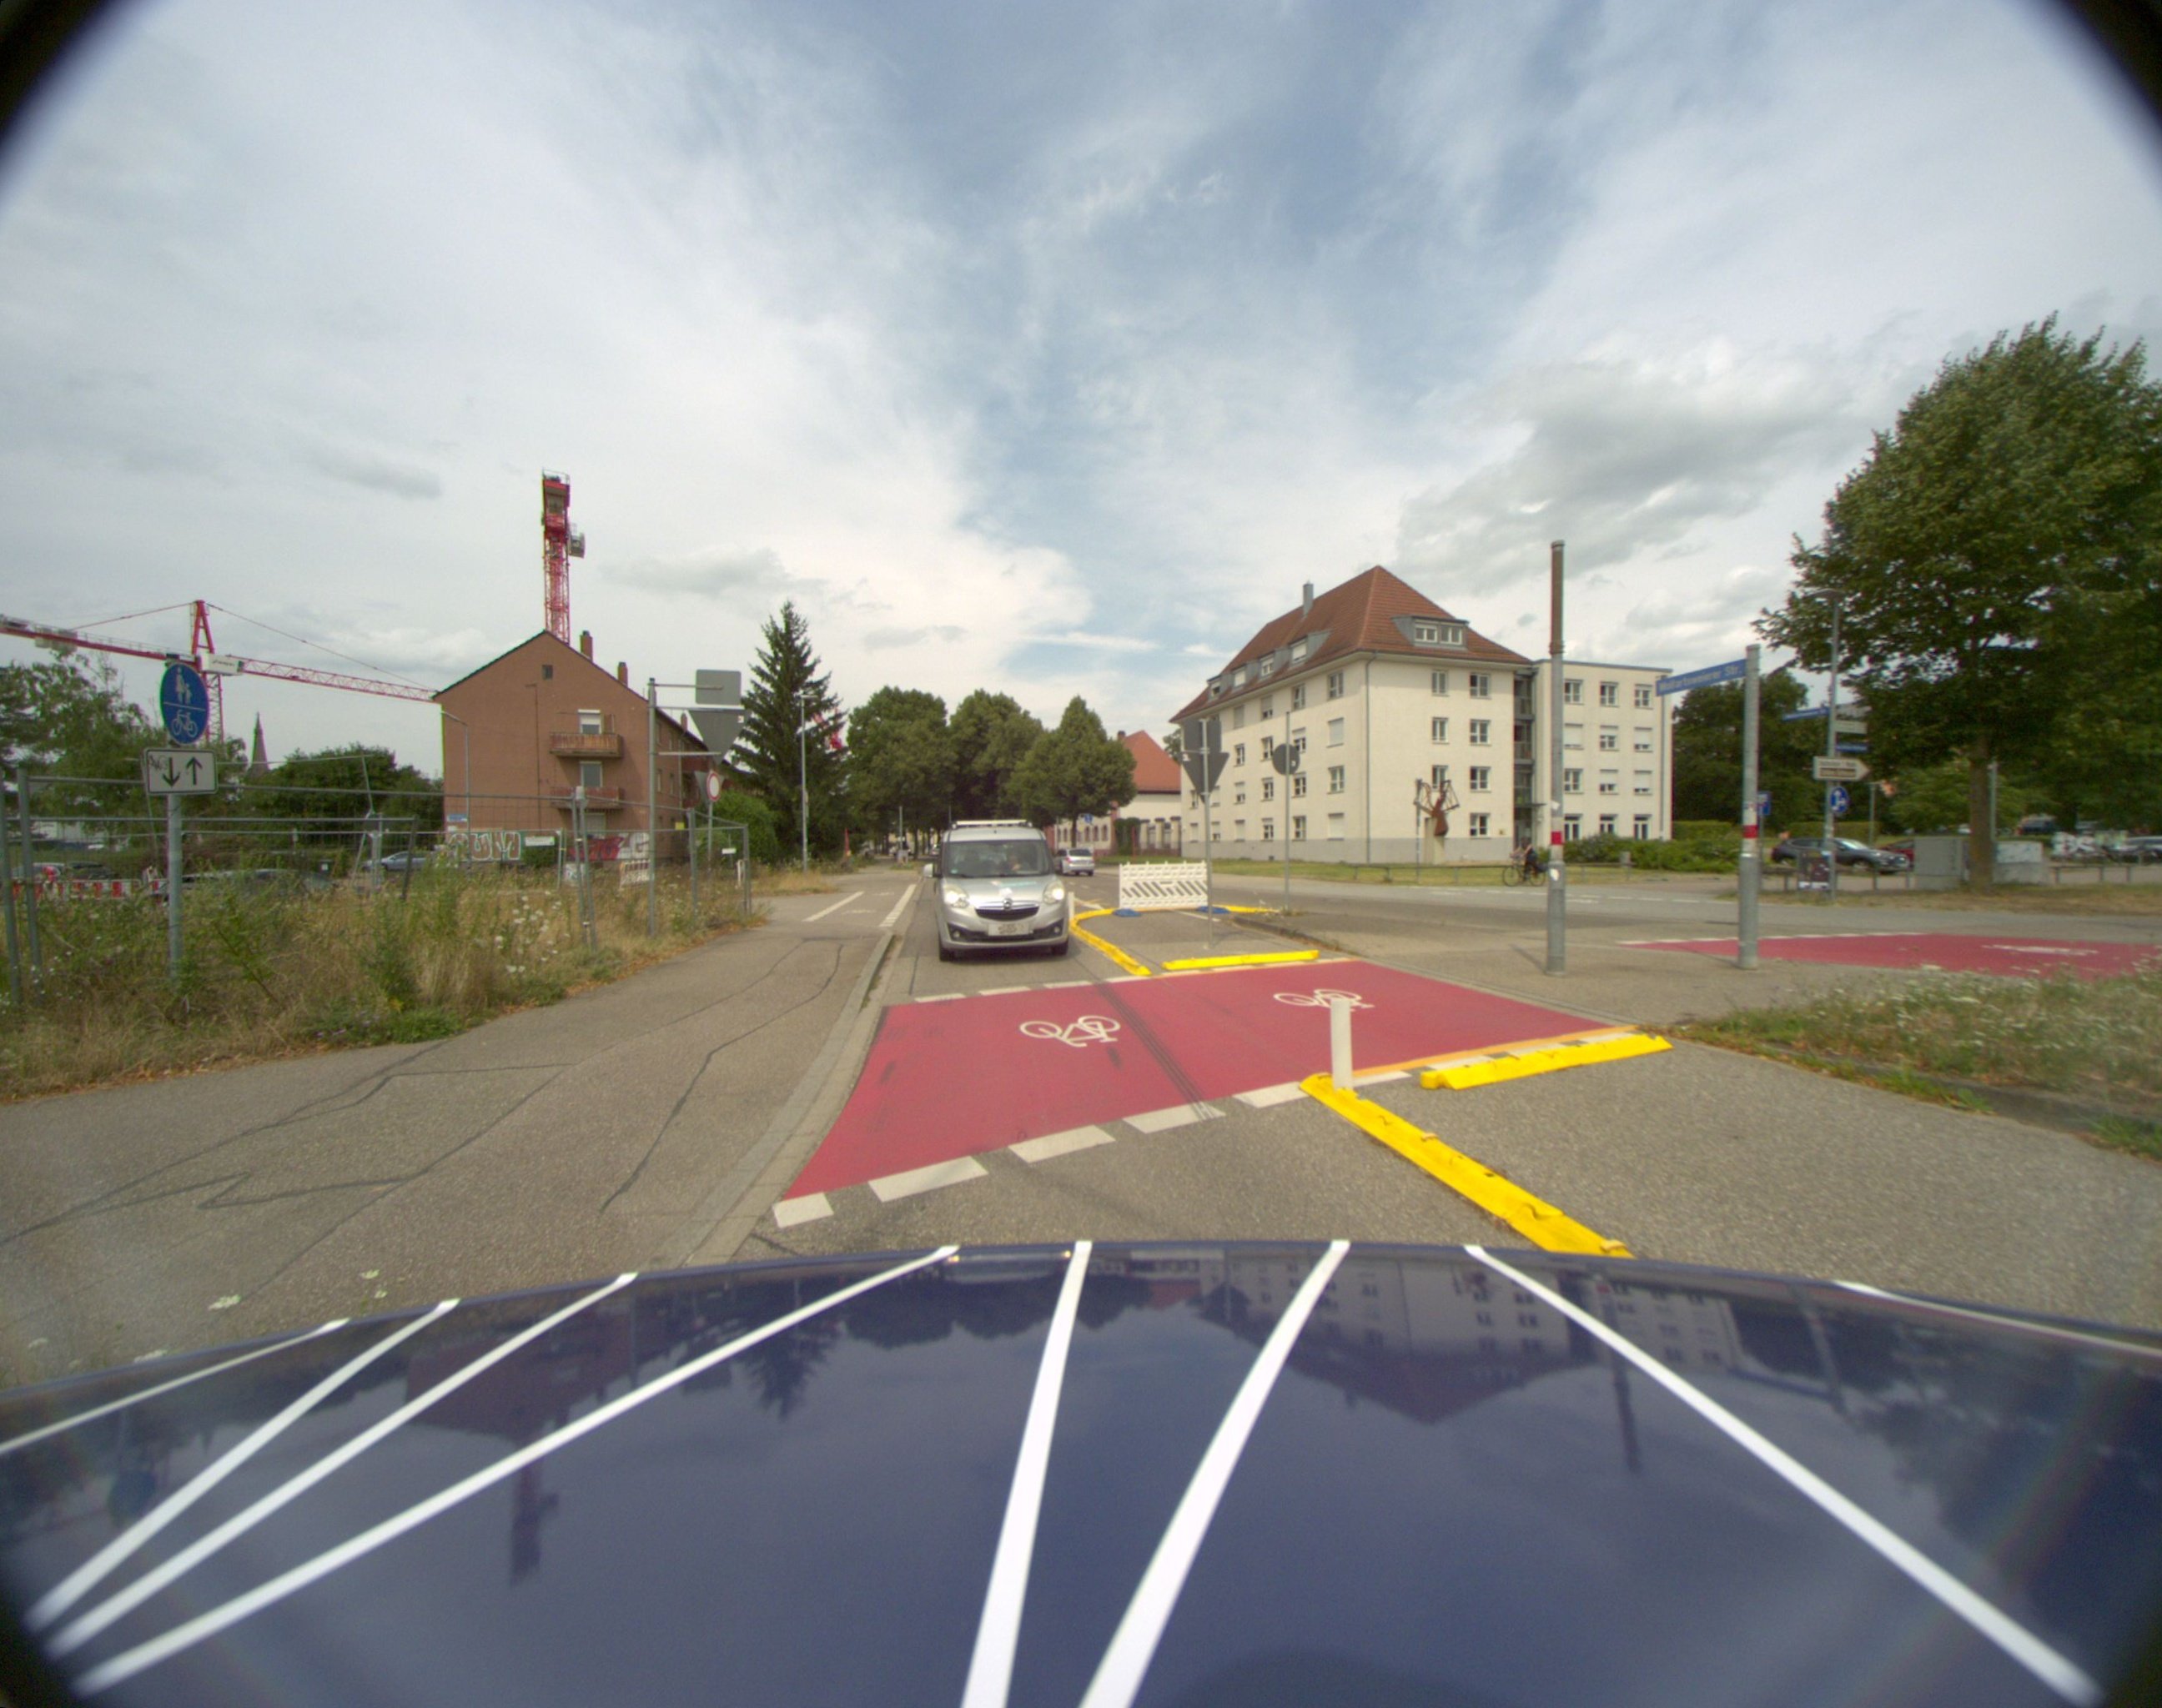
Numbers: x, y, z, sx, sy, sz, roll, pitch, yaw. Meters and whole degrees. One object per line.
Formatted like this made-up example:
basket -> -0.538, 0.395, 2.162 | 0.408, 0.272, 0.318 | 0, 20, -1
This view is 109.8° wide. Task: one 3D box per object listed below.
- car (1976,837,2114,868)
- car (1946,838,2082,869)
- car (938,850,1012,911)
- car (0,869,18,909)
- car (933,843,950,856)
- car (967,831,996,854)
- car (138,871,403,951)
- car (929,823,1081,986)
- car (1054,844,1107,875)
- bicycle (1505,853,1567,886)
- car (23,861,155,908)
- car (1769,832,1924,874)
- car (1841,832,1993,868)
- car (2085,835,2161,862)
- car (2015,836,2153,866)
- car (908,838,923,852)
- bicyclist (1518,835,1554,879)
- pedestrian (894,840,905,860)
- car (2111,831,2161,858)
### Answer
car -> 49.132, -0.083, 38.835 | 1.819, 1.459, 4.001 | -1, 1, -18
car -> 47.029, -0.045, 38.410 | 1.616, 1.460, 4.000 | -1, 1, -18
car -> -3.033, 0.650, 21.577 | 1.819, 1.495, 4.865 | -1, 0, -9
car -> -46.506, 1.489, 30.966 | 4.009, 1.593, 1.802 | -1, 1, 4
car -> -18.298, -0.599, 99.576 | 1.802, 1.613, 4.741 | -1, 1, -15
car -> -10.134, -1.190, 77.202 | 2.001, 2.260, 5.152 | -1, 1, -17
car -> -18.678, 1.222, 17.864 | 1.766, 1.465, 4.257 | -1, 1, -4
car -> -1.319, 0.565, 11.518 | 1.811, 1.936, 4.579 | -1, 1, -10
car -> -0.107, 0.266, 39.689 | 1.630, 1.510, 4.212 | -1, 1, -16
bicycle -> 15.057, 0.492, 25.146 | 1.829, 1.040, 0.601 | -1, 1, -10
car -> -41.102, 1.251, 31.510 | 3.993, 1.838, 1.803 | -1, 1, 13
car -> 34.265, -0.071, 34.202 | 2.001, 1.754, 4.493 | -1, 1, -18
car -> 39.459, -0.204, 36.029 | 2.001, 1.588, 4.400 | -1, 1, -16
car -> 59.000, -0.319, 41.900 | 1.819, 1.460, 4.000 | -1, 1, -18
car -> 52.801, -0.174, 40.115 | 1.819, 1.460, 4.000 | -1, 1, -18
car -> -31.783, -1.738, 146.197 | 2.071, 2.670, 5.966 | -1, 1, -6
bicyclist -> 15.044, 0.098, 25.132 | 0.803, 1.415, 0.601 | -1, 1, -10
pedestrian -> -17.637, -0.390, 73.853 | 0.856, 2.002, 0.731 | -1, 1, -9
car -> 63.272, -0.545, 43.973 | 1.819, 1.565, 4.001 | -1, 1, -18
